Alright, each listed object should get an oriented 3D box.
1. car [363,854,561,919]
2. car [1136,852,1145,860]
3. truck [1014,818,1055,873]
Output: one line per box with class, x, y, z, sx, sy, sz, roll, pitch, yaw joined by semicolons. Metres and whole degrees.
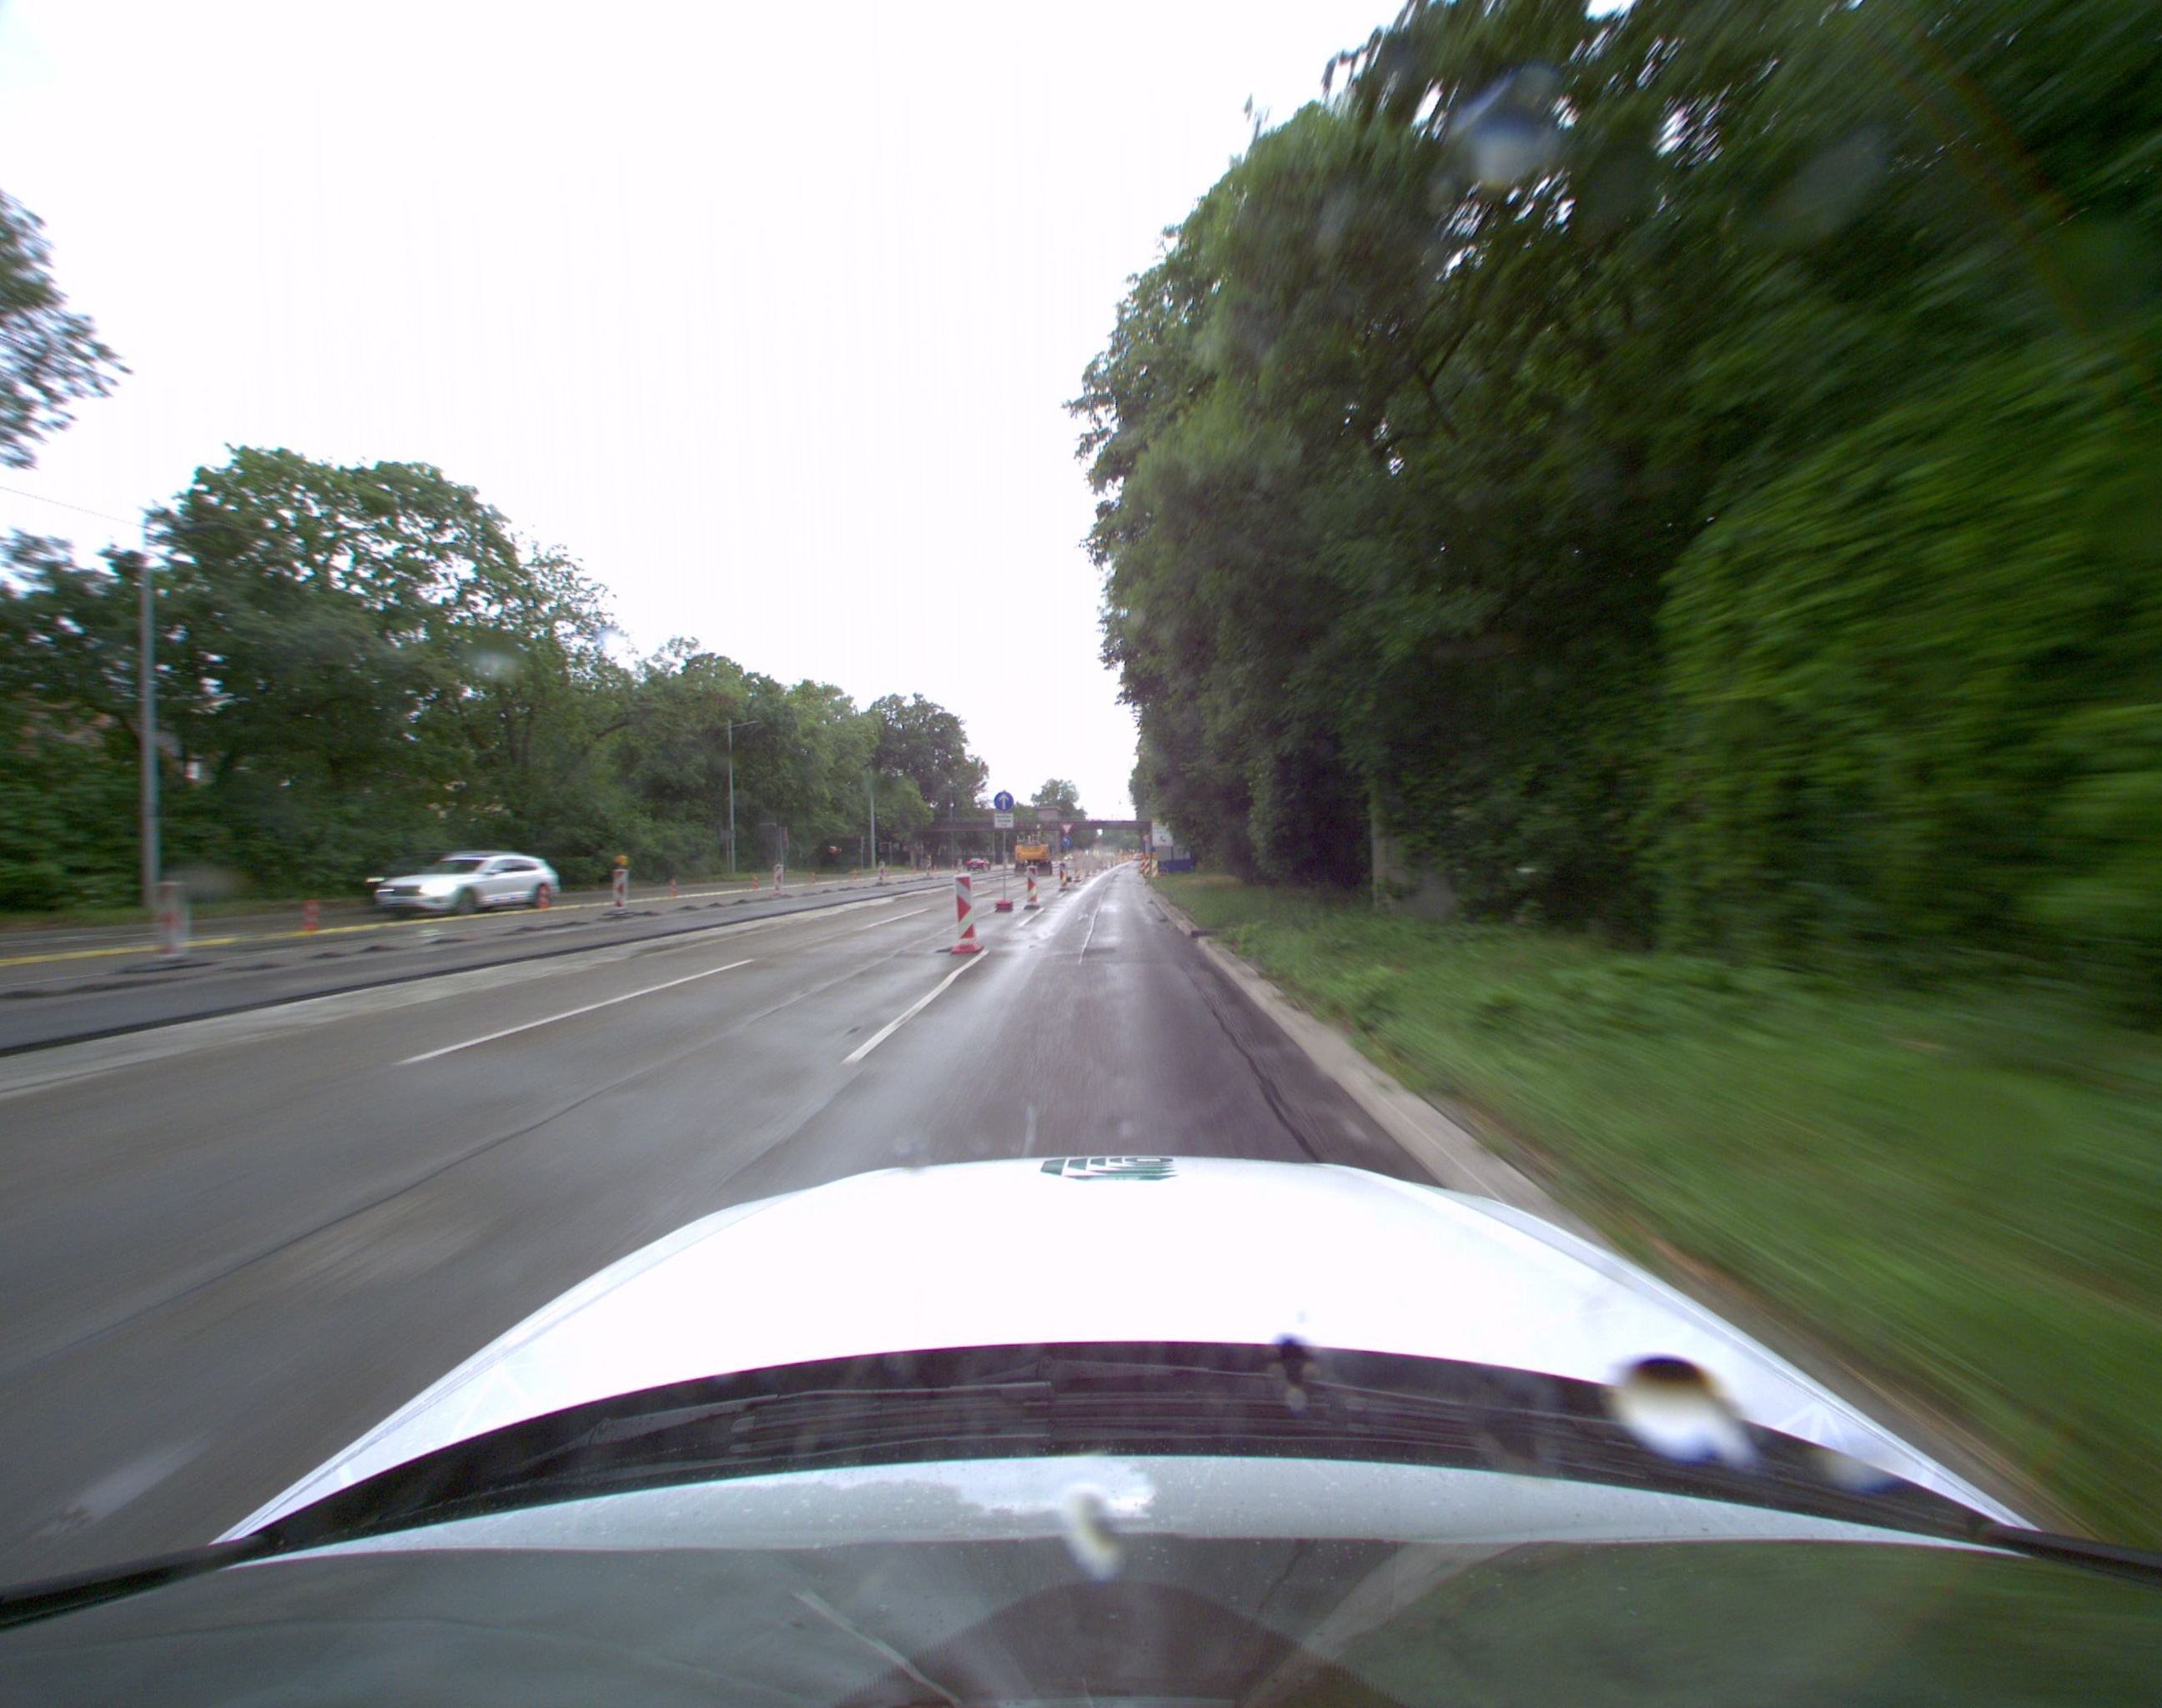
car;-17.582;0.845;23.525;1.883;1.661;4.894;-1;0;1
car;13.430;0.381;182.899;1.984;1.640;4.005;-2;0;4
truck;-3.766;-0.659;68.157;2.888;4.259;10.752;0;0;0
